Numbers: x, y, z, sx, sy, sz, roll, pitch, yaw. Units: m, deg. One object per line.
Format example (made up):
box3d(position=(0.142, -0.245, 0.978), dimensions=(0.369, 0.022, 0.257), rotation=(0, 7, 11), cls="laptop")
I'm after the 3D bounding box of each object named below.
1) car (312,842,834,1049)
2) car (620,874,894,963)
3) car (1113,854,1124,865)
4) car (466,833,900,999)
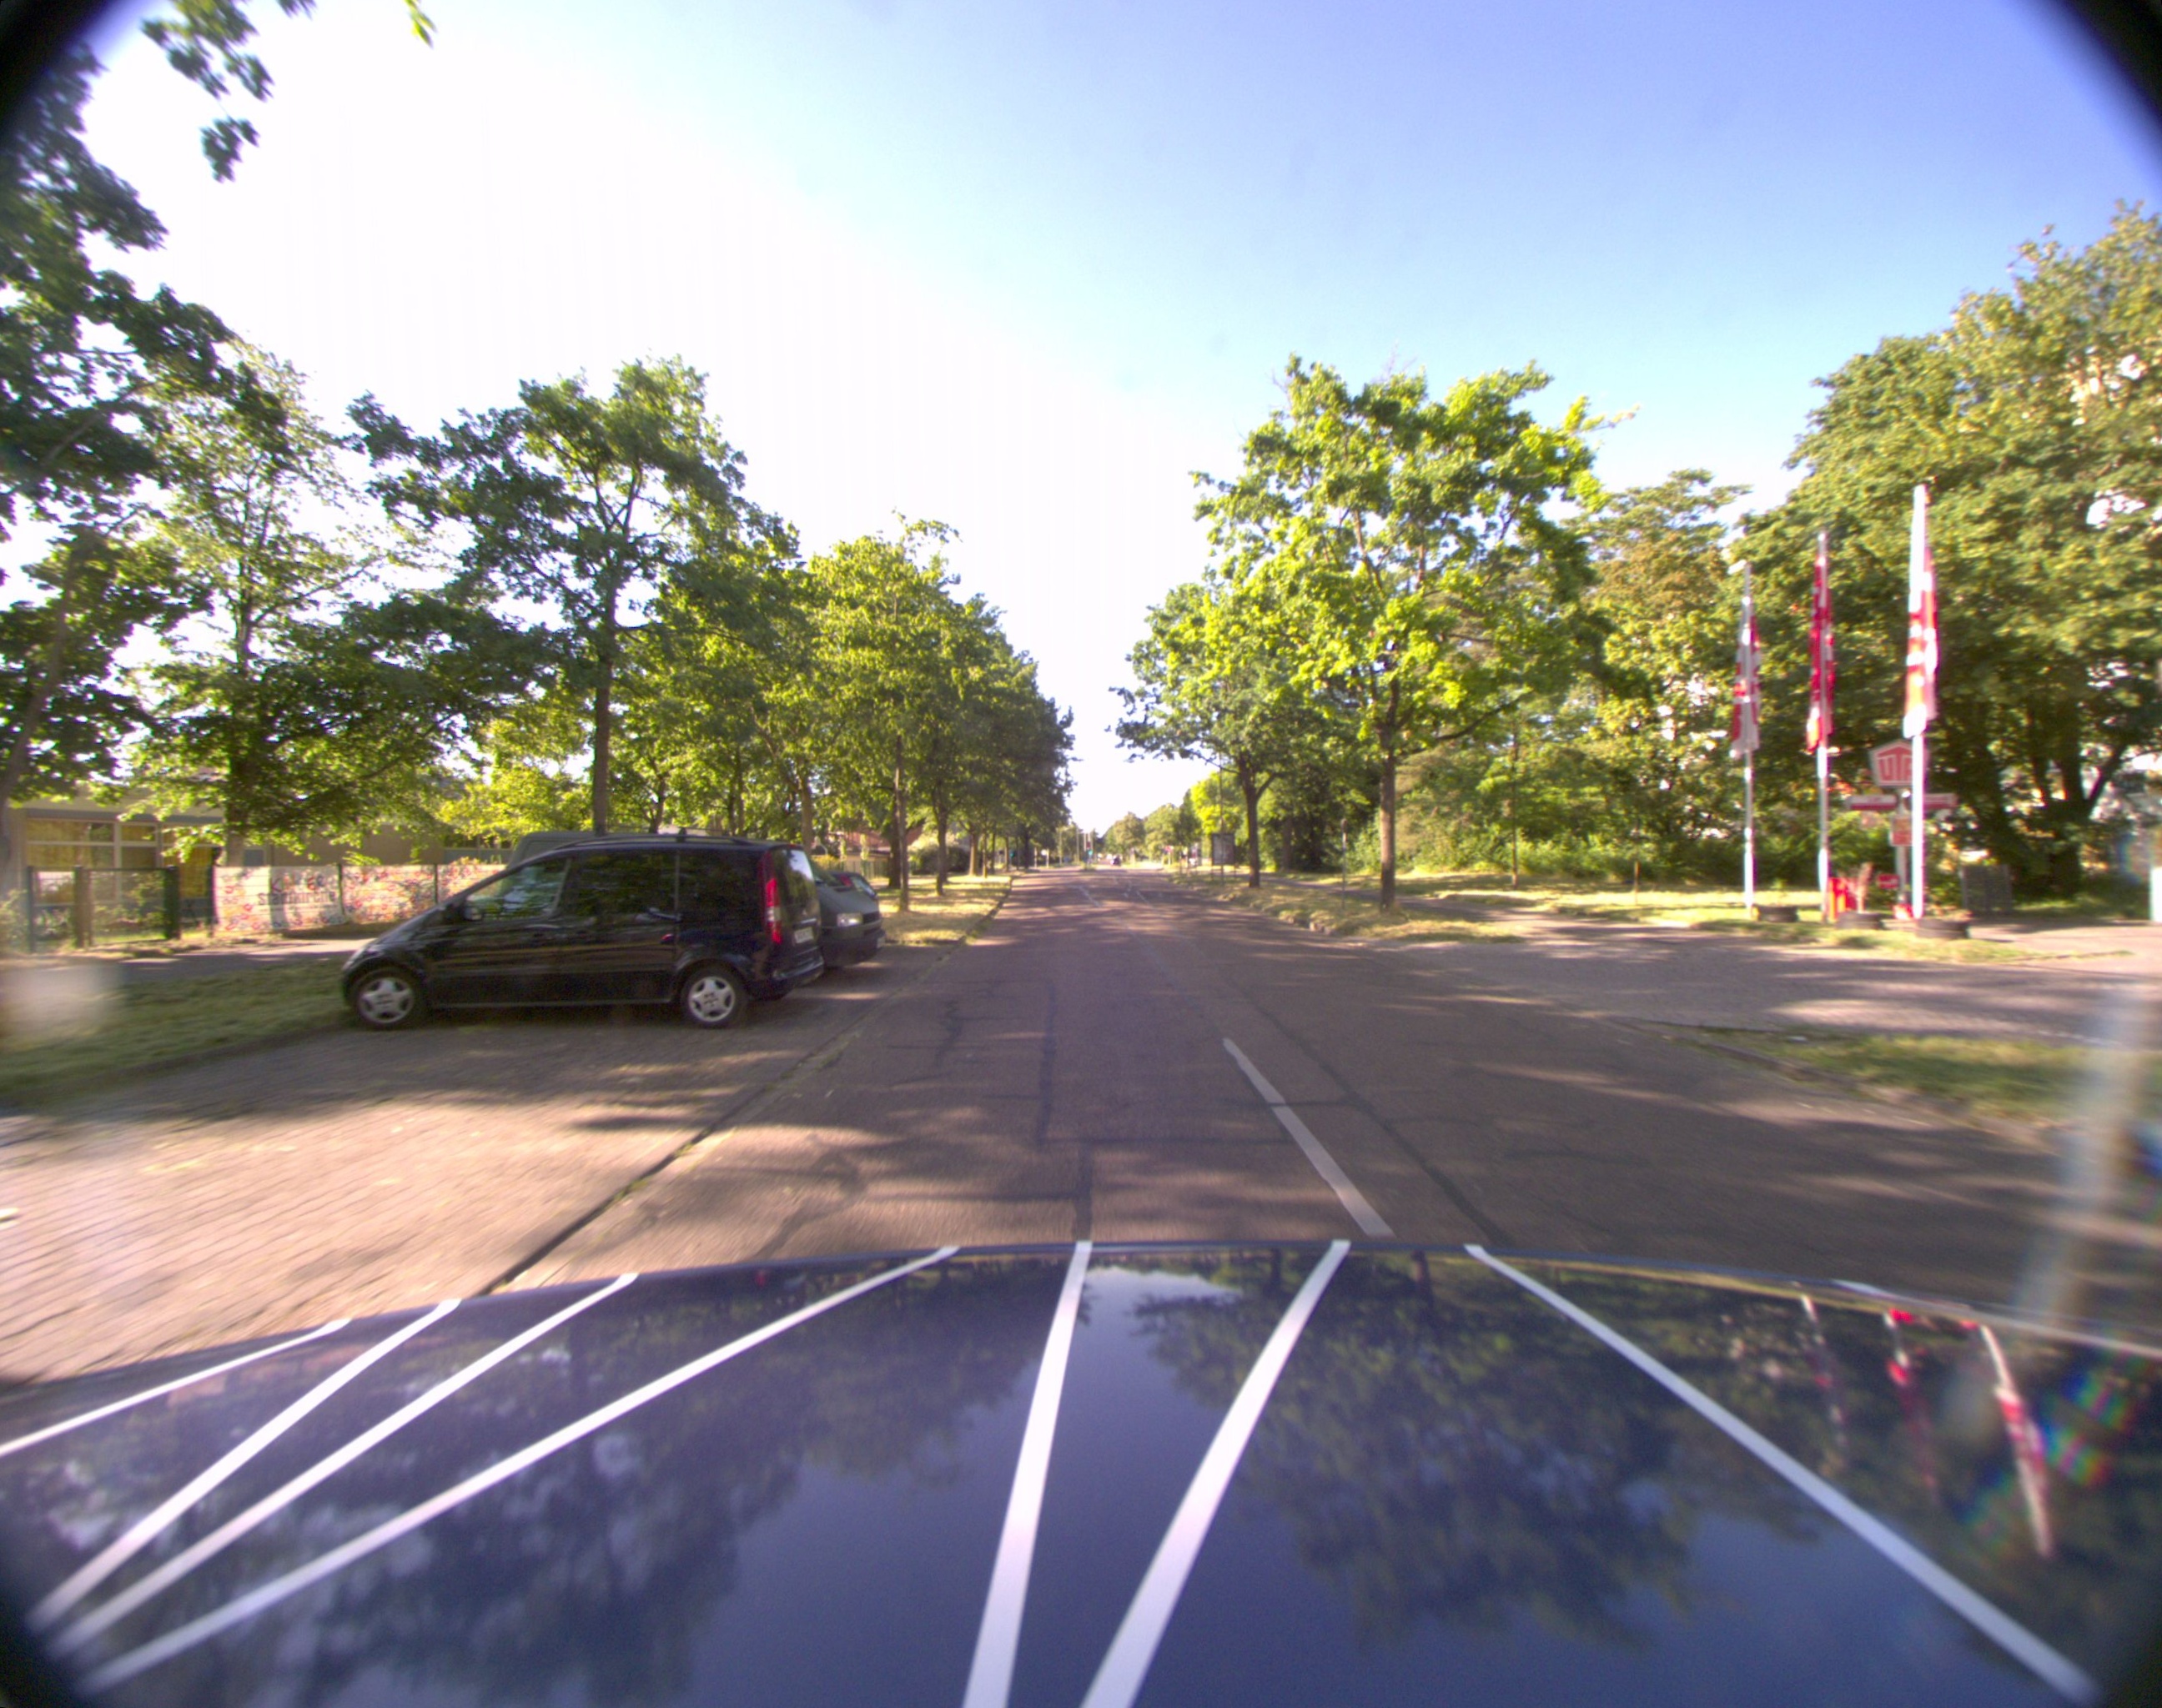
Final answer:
box3d(position=(-4.803, 0.833, 7.688), dimensions=(4.020, 1.826, 1.799), rotation=(1, 0, -3), cls="car")
box3d(position=(-5.465, 1.075, 13.195), dimensions=(3.998, 1.395, 1.739), rotation=(0, 0, 0), cls="car")
box3d(position=(7.515, 1.106, 152.052), dimensions=(1.904, 2.082, 3.641), rotation=(1, 0, 0), cls="car")
box3d(position=(-5.090, 0.765, 10.258), dimensions=(4.815, 2.020, 1.944), rotation=(0, 0, 0), cls="car")
